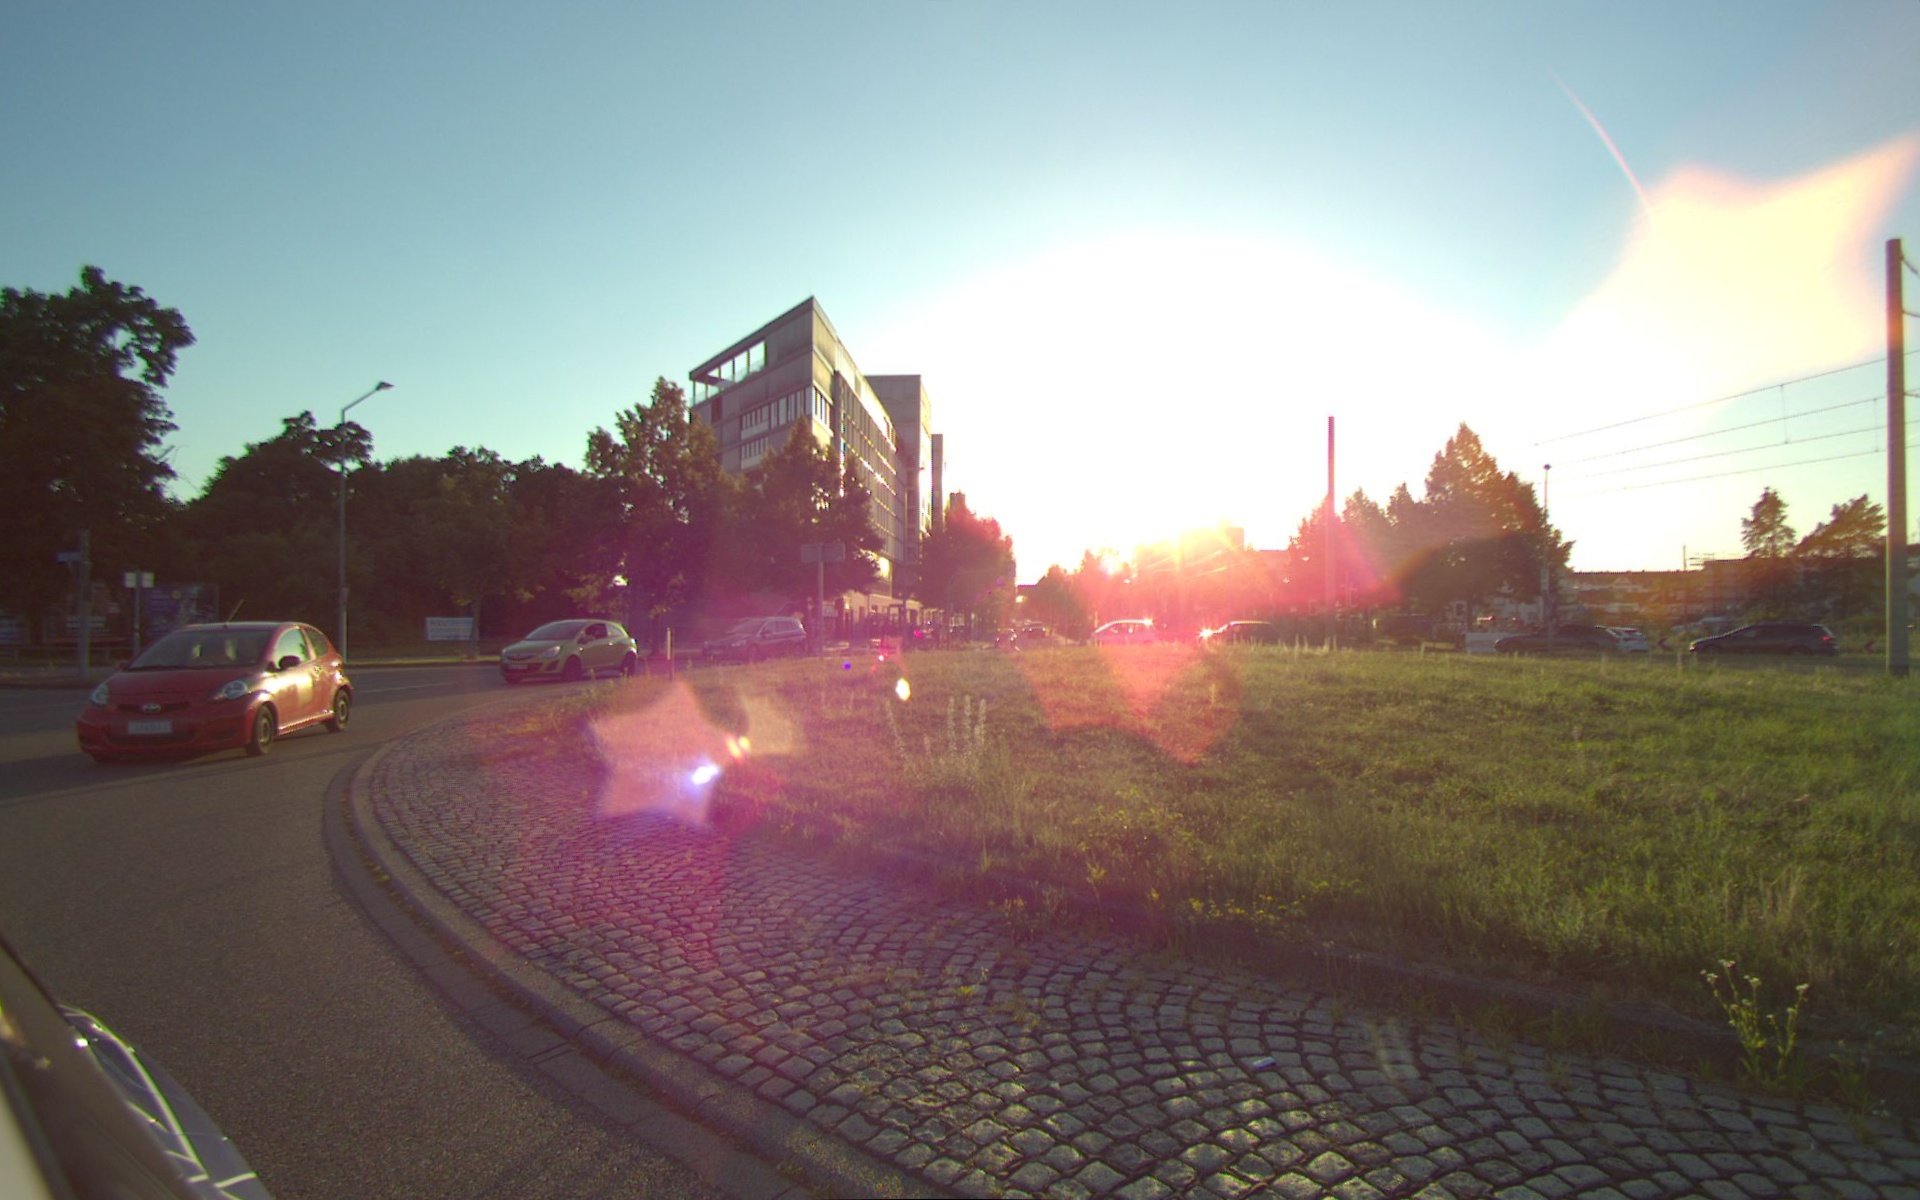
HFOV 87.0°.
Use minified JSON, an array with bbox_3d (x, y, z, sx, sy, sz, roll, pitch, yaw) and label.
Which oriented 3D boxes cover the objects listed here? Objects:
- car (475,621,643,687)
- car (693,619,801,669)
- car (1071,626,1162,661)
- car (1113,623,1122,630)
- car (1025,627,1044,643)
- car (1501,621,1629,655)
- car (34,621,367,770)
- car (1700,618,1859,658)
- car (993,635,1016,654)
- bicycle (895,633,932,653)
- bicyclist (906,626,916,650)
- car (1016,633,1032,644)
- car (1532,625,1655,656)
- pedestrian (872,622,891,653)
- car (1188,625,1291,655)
[{"bbox_3d":[-9.471,1.226,24.260,1.675,1.431,3.978,-1,-1,17],"label":"car"},{"bbox_3d":[-7.219,1.454,34.774,1.720,1.590,4.303,-1,-1,18],"label":"car"},{"bbox_3d":[7.337,2.040,47.712,3.831,1.592,1.958,0,-1,-7],"label":"car"},{"bbox_3d":[38.493,6.482,248.109,1.976,1.464,3.992,0,-1,6],"label":"car"},{"bbox_3d":[8.470,4.005,115.522,1.974,1.827,5.300,-2,-2,3],"label":"car"},{"bbox_3d":[25.724,1.594,43.103,4.351,1.386,1.972,-1,-2,42],"label":"car"},{"bbox_3d":[-8.605,0.970,11.941,1.661,1.431,4.010,0,-1,-13],"label":"car"},{"bbox_3d":[30.626,1.383,37.917,1.969,1.386,4.389,1,-2,-42],"label":"car"},{"bbox_3d":[3.531,3.522,80.243,1.728,1.389,4.122,0,-1,2],"label":"car"},{"bbox_3d":[-2.894,2.677,62.965,2.315,1.254,0.742,0,-1,0],"label":"bicycle"},{"bbox_3d":[-3.075,2.353,62.987,0.602,1.451,0.692,0,-1,-2],"label":"bicyclist"},{"bbox_3d":[8.927,5.299,141.178,1.973,1.464,3.998,0,-1,1],"label":"car"},{"bbox_3d":[29.758,1.874,47.644,2.076,1.377,4.476,1,-1,-38],"label":"car"},{"bbox_3d":[-5.152,2.469,66.669,0.995,2.029,0.768,-1,0,29],"label":"pedestrian"},{"bbox_3d":[13.181,1.888,47.945,4.325,1.386,1.999,0,-1,2],"label":"car"}]
